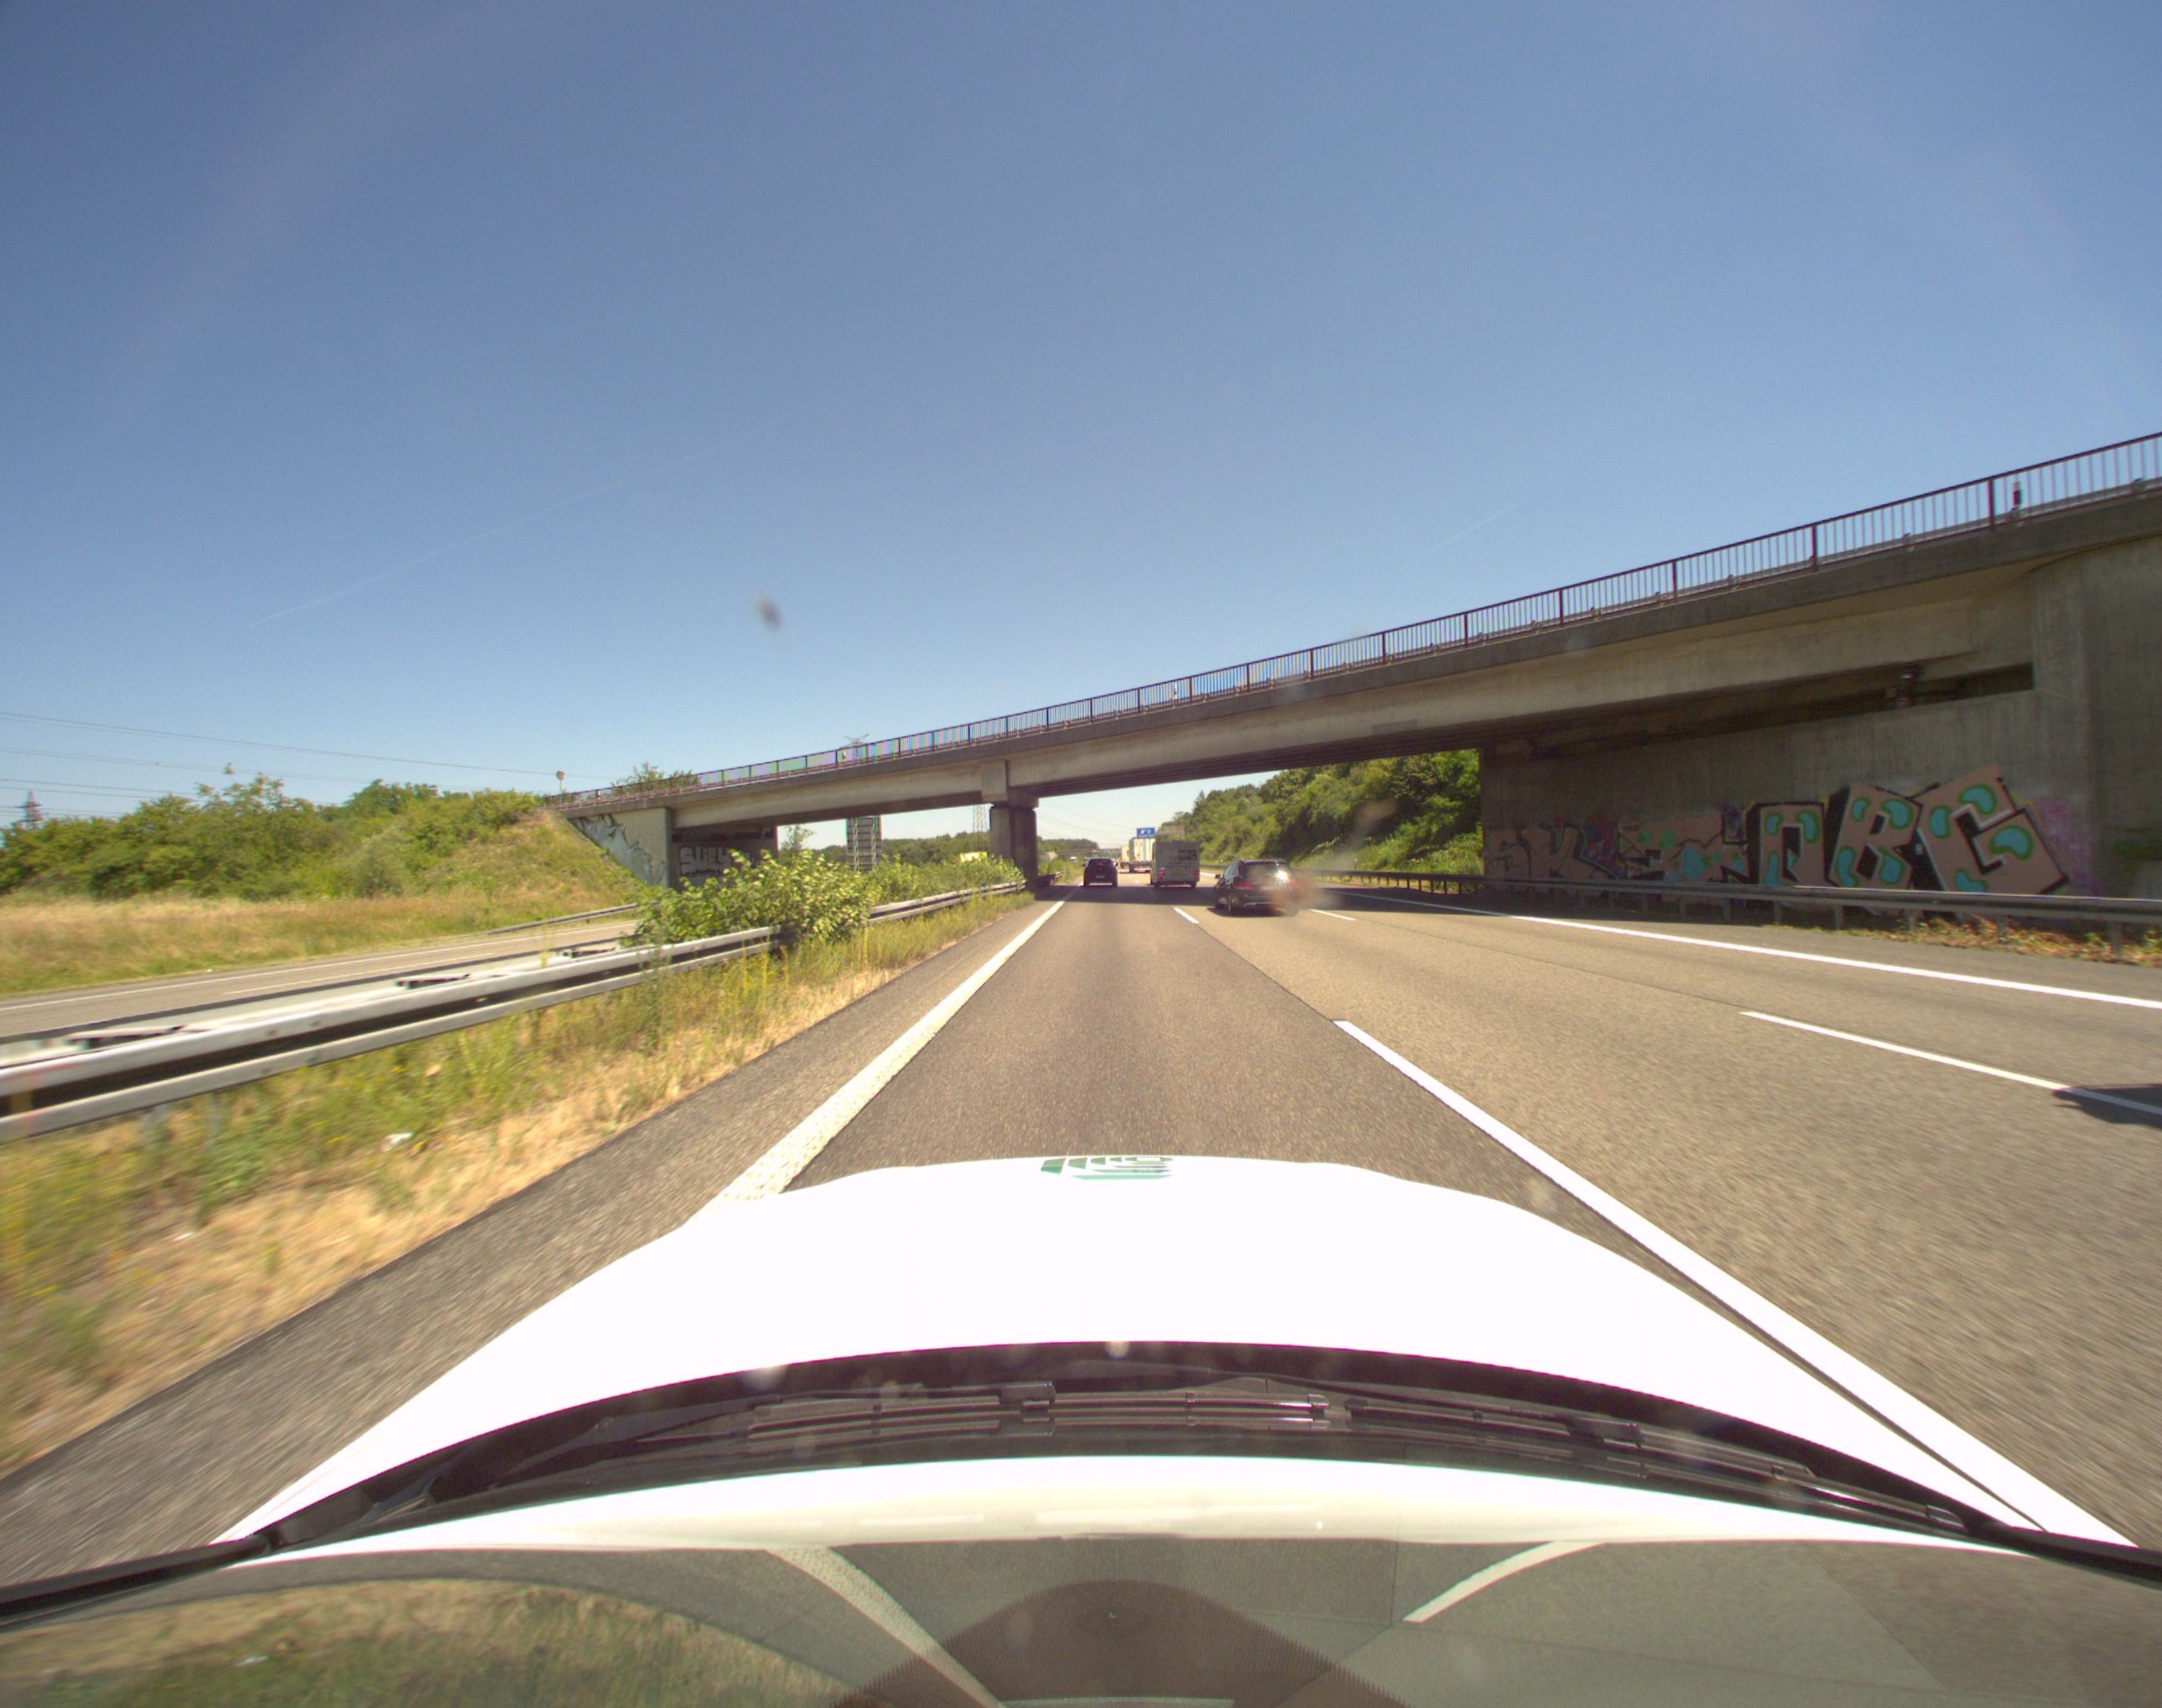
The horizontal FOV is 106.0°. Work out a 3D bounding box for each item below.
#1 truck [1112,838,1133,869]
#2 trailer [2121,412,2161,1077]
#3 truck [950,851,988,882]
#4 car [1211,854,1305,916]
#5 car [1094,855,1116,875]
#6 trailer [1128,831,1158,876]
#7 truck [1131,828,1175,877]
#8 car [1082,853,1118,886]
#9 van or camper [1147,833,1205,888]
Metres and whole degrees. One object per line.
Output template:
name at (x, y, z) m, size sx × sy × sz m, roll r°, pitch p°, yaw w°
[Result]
truck at (7.449, -0.052, 146.256) m, size 3.498 × 5.166 × 10.264 m, roll -1°, pitch -1°, yaw 2°
trailer at (7.962, -0.724, 1.763) m, size 2.703 × 4.102 × 6.790 m, roll -2°, pitch -1°, yaw 1°
truck at (-14.673, 1.638, 107.532) m, size 3.498 × 3.863 × 8.666 m, roll -1°, pitch -1°, yaw 2°
car at (4.854, 0.794, 22.995) m, size 1.833 × 1.505 × 4.742 m, roll -1°, pitch 0°, yaw 3°
car at (2.294, 1.074, 78.517) m, size 1.955 × 1.815 × 4.450 m, roll -2°, pitch 0°, yaw 1°
trailer at (7.092, 0.028, 95.249) m, size 3.075 × 4.885 × 12.264 m, roll 0°, pitch -1°, yaw 2°
truck at (6.856, -0.023, 80.231) m, size 3.557 × 4.245 × 16.612 m, roll 0°, pitch -1°, yaw 2°
car at (1.119, 0.900, 48.042) m, size 1.986 × 1.772 × 4.001 m, roll -2°, pitch 0°, yaw 1°
van or camper at (5.001, 0.350, 44.012) m, size 2.430 × 2.675 × 6.351 m, roll -2°, pitch 0°, yaw 1°
